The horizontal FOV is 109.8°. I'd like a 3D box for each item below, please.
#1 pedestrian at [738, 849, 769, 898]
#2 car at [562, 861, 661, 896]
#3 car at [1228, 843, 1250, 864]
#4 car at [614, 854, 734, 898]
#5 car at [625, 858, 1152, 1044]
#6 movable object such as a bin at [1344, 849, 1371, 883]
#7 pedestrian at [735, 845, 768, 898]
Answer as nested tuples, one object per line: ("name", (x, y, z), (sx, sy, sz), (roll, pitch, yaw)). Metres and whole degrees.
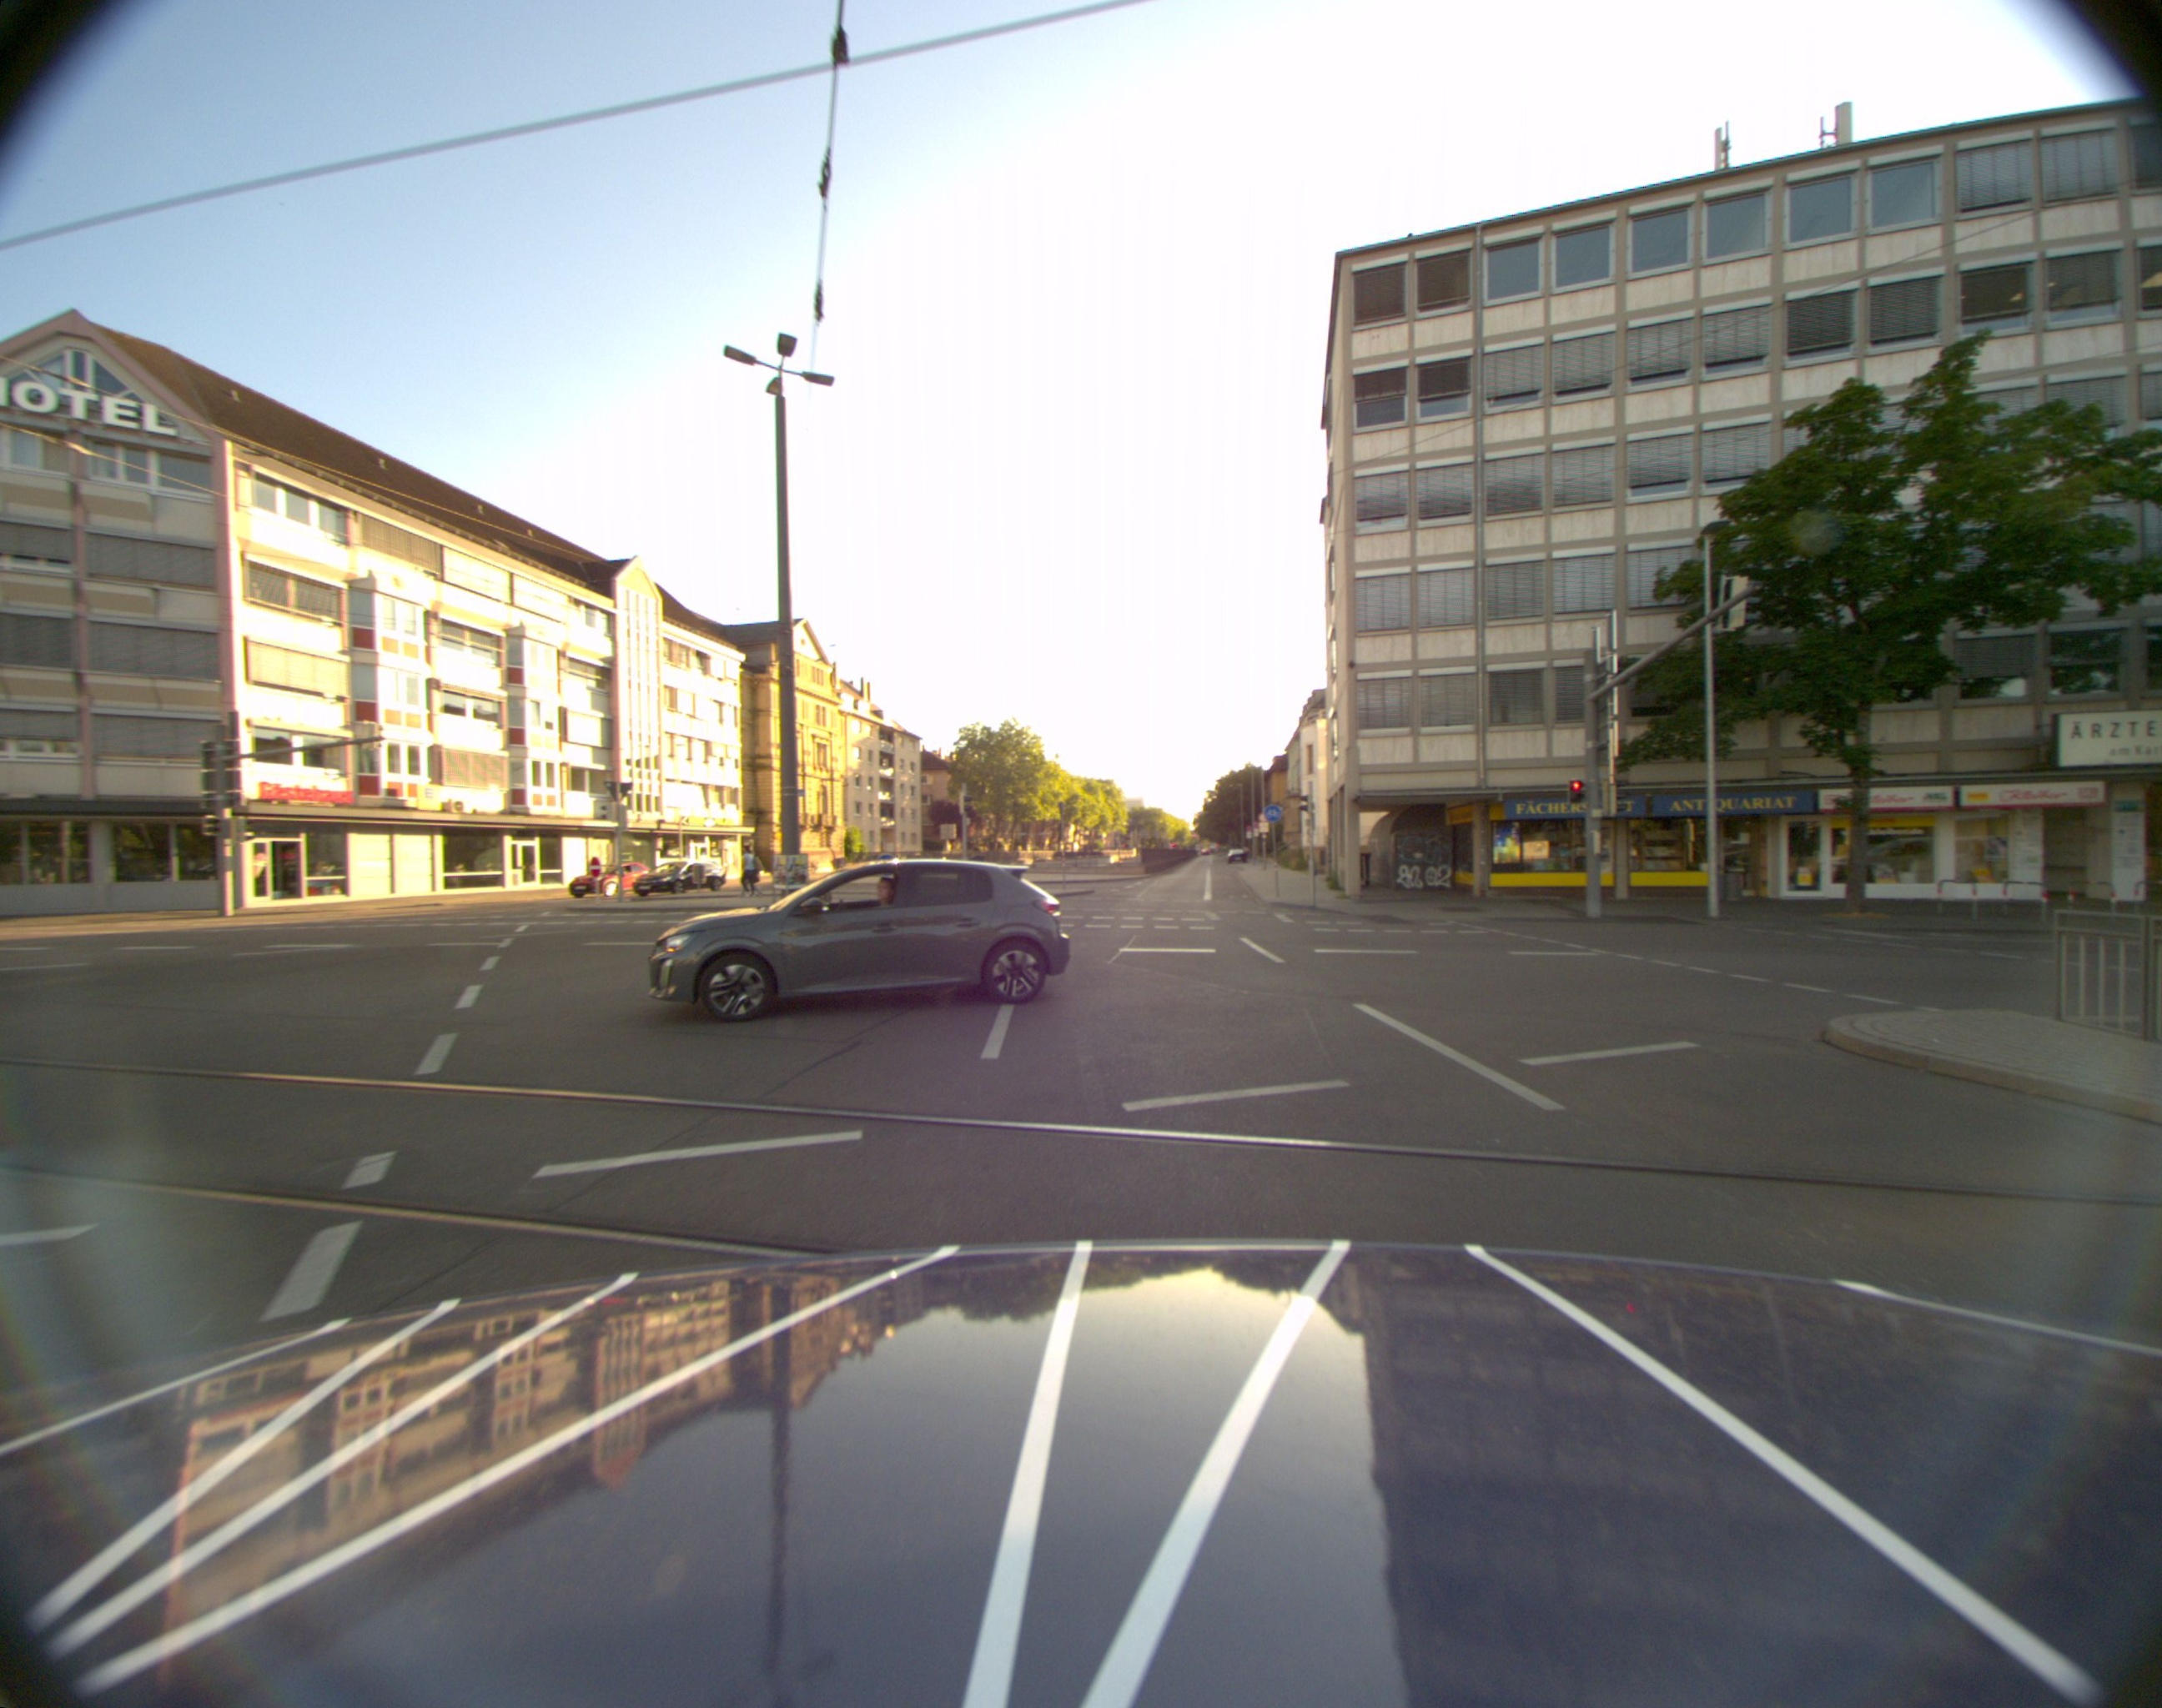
("pedestrian", (-10.771, 0.614, 24.998), (0.707, 1.573, 0.823), (-1, 1, -38))
("car", (-20.987, 1.057, 34.159), (1.647, 1.414, 3.899), (0, 1, 8))
("car", (16.217, -0.074, 77.840), (1.996, 2.002, 4.266), (0, 1, 14))
("car", (-17.359, 0.885, 32.719), (2.220, 1.546, 4.613), (-3, 1, 6))
("car", (-1.811, 0.817, 7.935), (4.705, 1.495, 1.914), (-1, 1, -16))
("movable object such as a bin", (11.062, 0.473, 30.468), (0.958, 1.319, 1.416), (0, 1, 18))
("pedestrian", (-10.480, 0.542, 24.159), (0.728, 1.639, 0.769), (-1, 2, -41))
